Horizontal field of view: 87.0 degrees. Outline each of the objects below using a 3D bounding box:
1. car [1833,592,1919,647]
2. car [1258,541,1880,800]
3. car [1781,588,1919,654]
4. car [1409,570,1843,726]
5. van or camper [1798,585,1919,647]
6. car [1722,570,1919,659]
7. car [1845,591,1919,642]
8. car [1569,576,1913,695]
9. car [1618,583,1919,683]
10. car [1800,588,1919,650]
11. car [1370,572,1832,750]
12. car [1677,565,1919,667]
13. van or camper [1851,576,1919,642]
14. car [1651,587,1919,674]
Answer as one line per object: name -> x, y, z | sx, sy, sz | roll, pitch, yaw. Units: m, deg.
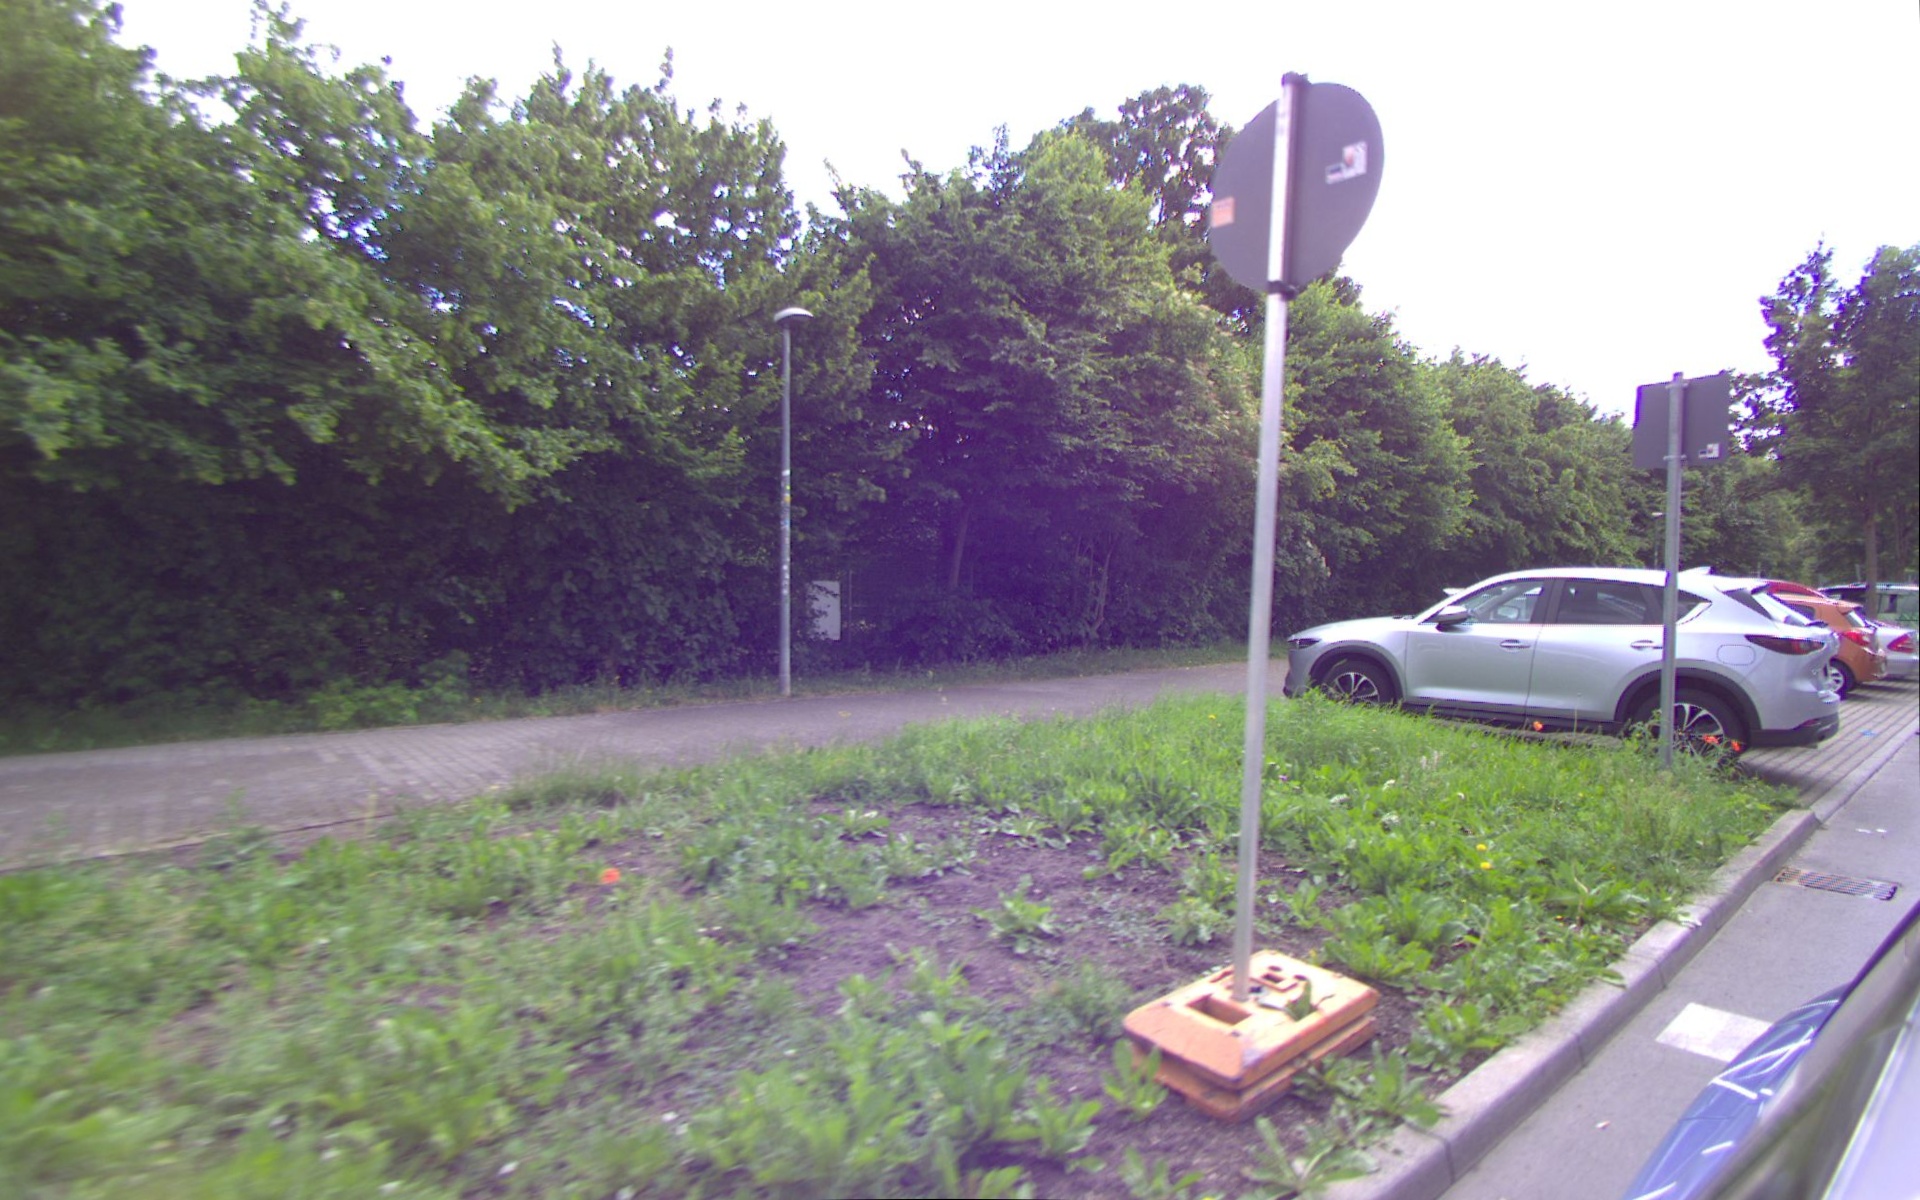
car -> 31.406, 0.617, 33.238 | 1.853, 1.754, 3.971 | 0, -1, -44
car -> 5.475, 0.406, 9.567 | 4.651, 1.773, 2.037 | 5, 3, 44
car -> 25.561, 0.561, 28.205 | 1.853, 1.754, 3.971 | 0, -1, -44
car -> 8.628, 0.481, 13.435 | 1.880, 1.581, 4.483 | 0, 3, -44
van or camper -> 29.149, 0.495, 31.927 | 1.700, 1.897, 3.971 | 0, -1, -44
car -> 21.973, 0.324, 25.137 | 1.853, 1.922, 4.556 | 0, 3, -43
car -> 33.280, 0.559, 34.916 | 2.072, 1.622, 3.972 | -3, 3, -44
car -> 12.548, 0.470, 16.501 | 1.647, 1.611, 4.157 | 0, 2, -40
car -> 14.461, 0.495, 17.891 | 1.911, 1.453, 4.403 | 0, 2, -42
car -> 27.553, 0.554, 29.943 | 1.853, 1.754, 3.971 | 0, -1, -44
car -> 7.138, 0.530, 11.595 | 1.766, 1.606, 4.159 | 0, 2, -44
car -> 18.071, 0.263, 21.540 | 1.807, 1.916, 4.285 | 0, 2, -44
van or camper -> 34.908, 0.306, 36.497 | 1.853, 2.349, 3.971 | 0, -1, -44
car -> 16.368, 0.521, 19.915 | 1.807, 1.426, 4.285 | 0, 2, -44
